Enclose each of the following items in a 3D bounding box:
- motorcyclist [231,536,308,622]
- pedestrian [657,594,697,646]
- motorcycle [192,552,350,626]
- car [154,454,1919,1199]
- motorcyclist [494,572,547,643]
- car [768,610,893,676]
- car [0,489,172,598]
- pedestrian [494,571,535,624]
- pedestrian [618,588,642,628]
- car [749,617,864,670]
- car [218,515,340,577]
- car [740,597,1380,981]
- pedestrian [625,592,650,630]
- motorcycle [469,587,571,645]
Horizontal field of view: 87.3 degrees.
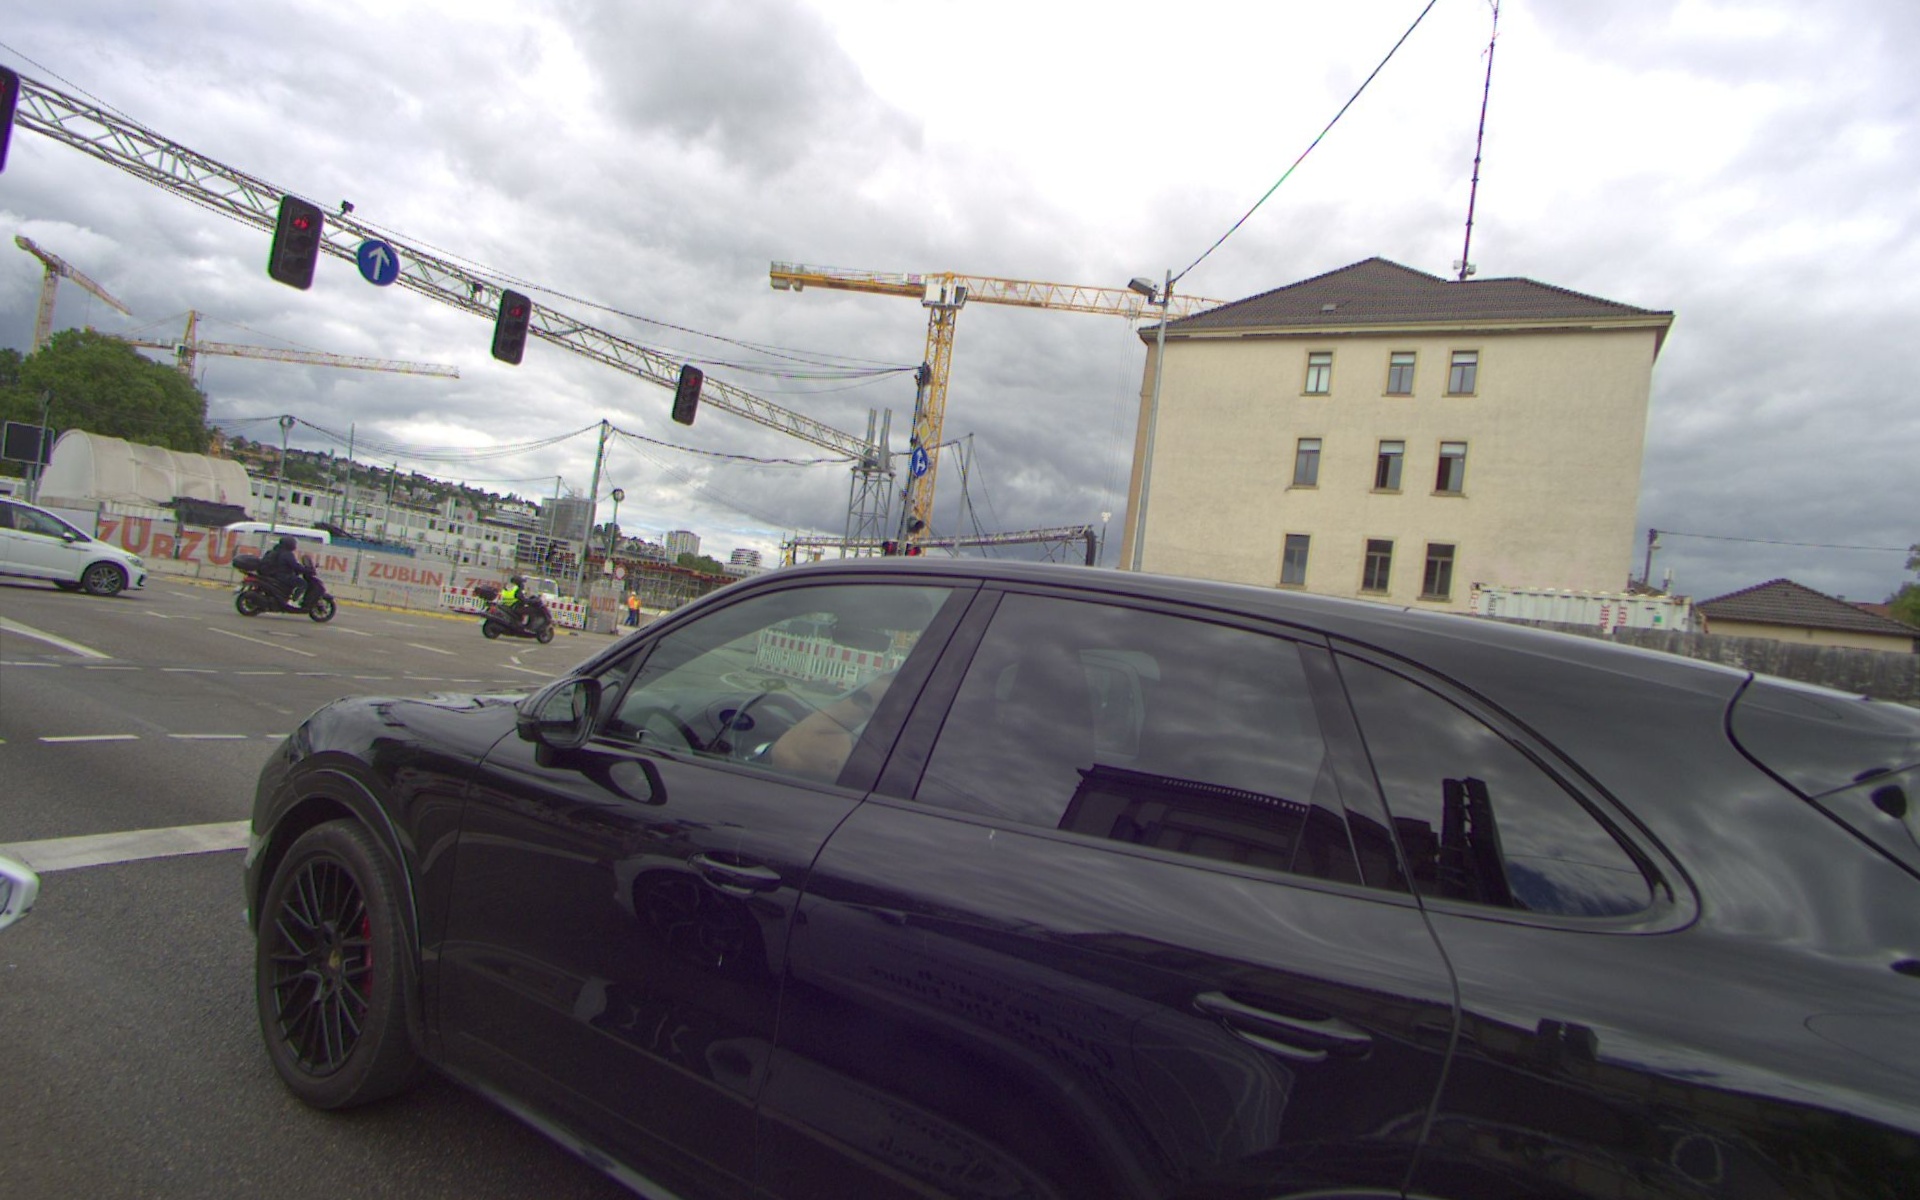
[{"bbox_3d":[-13.989,-0.428,20.395,0.804,1.589,0.880,6,-1,32],"label":"motorcyclist"},{"bbox_3d":[-12.041,0.840,42.828,1.028,2.037,1.033,8,-1,-44],"label":"pedestrian"},{"bbox_3d":[-13.965,-0.196,20.481,0.804,1.168,2.427,6,-2,32],"label":"motorcycle"},{"bbox_3d":[0.001,0.684,2.719,4.505,1.687,1.997,6,-2,34],"label":"car"},{"bbox_3d":[-10.707,0.183,24.542,0.641,1.615,0.787,6,-1,32],"label":"motorcyclist"},{"bbox_3d":[-4.461,1.537,35.255,1.967,1.826,4.279,6,-2,31],"label":"car"},{"bbox_3d":[-18.232,-1.223,19.069,1.966,1.721,4.682,6,-2,29],"label":"car"},{"bbox_3d":[-17.284,-0.098,39.044,1.040,1.869,0.781,8,-1,-42],"label":"pedestrian"},{"bbox_3d":[-17.638,0.440,53.829,0.855,2.037,0.677,6,-1,44],"label":"pedestrian"},{"bbox_3d":[-5.857,1.703,38.761,1.968,1.565,4.112,6,-2,35],"label":"car"},{"bbox_3d":[-29.522,-2.334,43.647,3.976,2.037,1.976,9,-2,-43],"label":"car"},{"bbox_3d":[0.582,0.993,6.556,3.587,1.527,1.825,6,-2,33],"label":"car"},{"bbox_3d":[-17.550,0.589,54.795,0.850,1.938,0.680,7,-1,26],"label":"pedestrian"},{"bbox_3d":[-10.711,0.417,24.575,0.641,1.168,2.171,6,-2,32],"label":"motorcycle"}]
